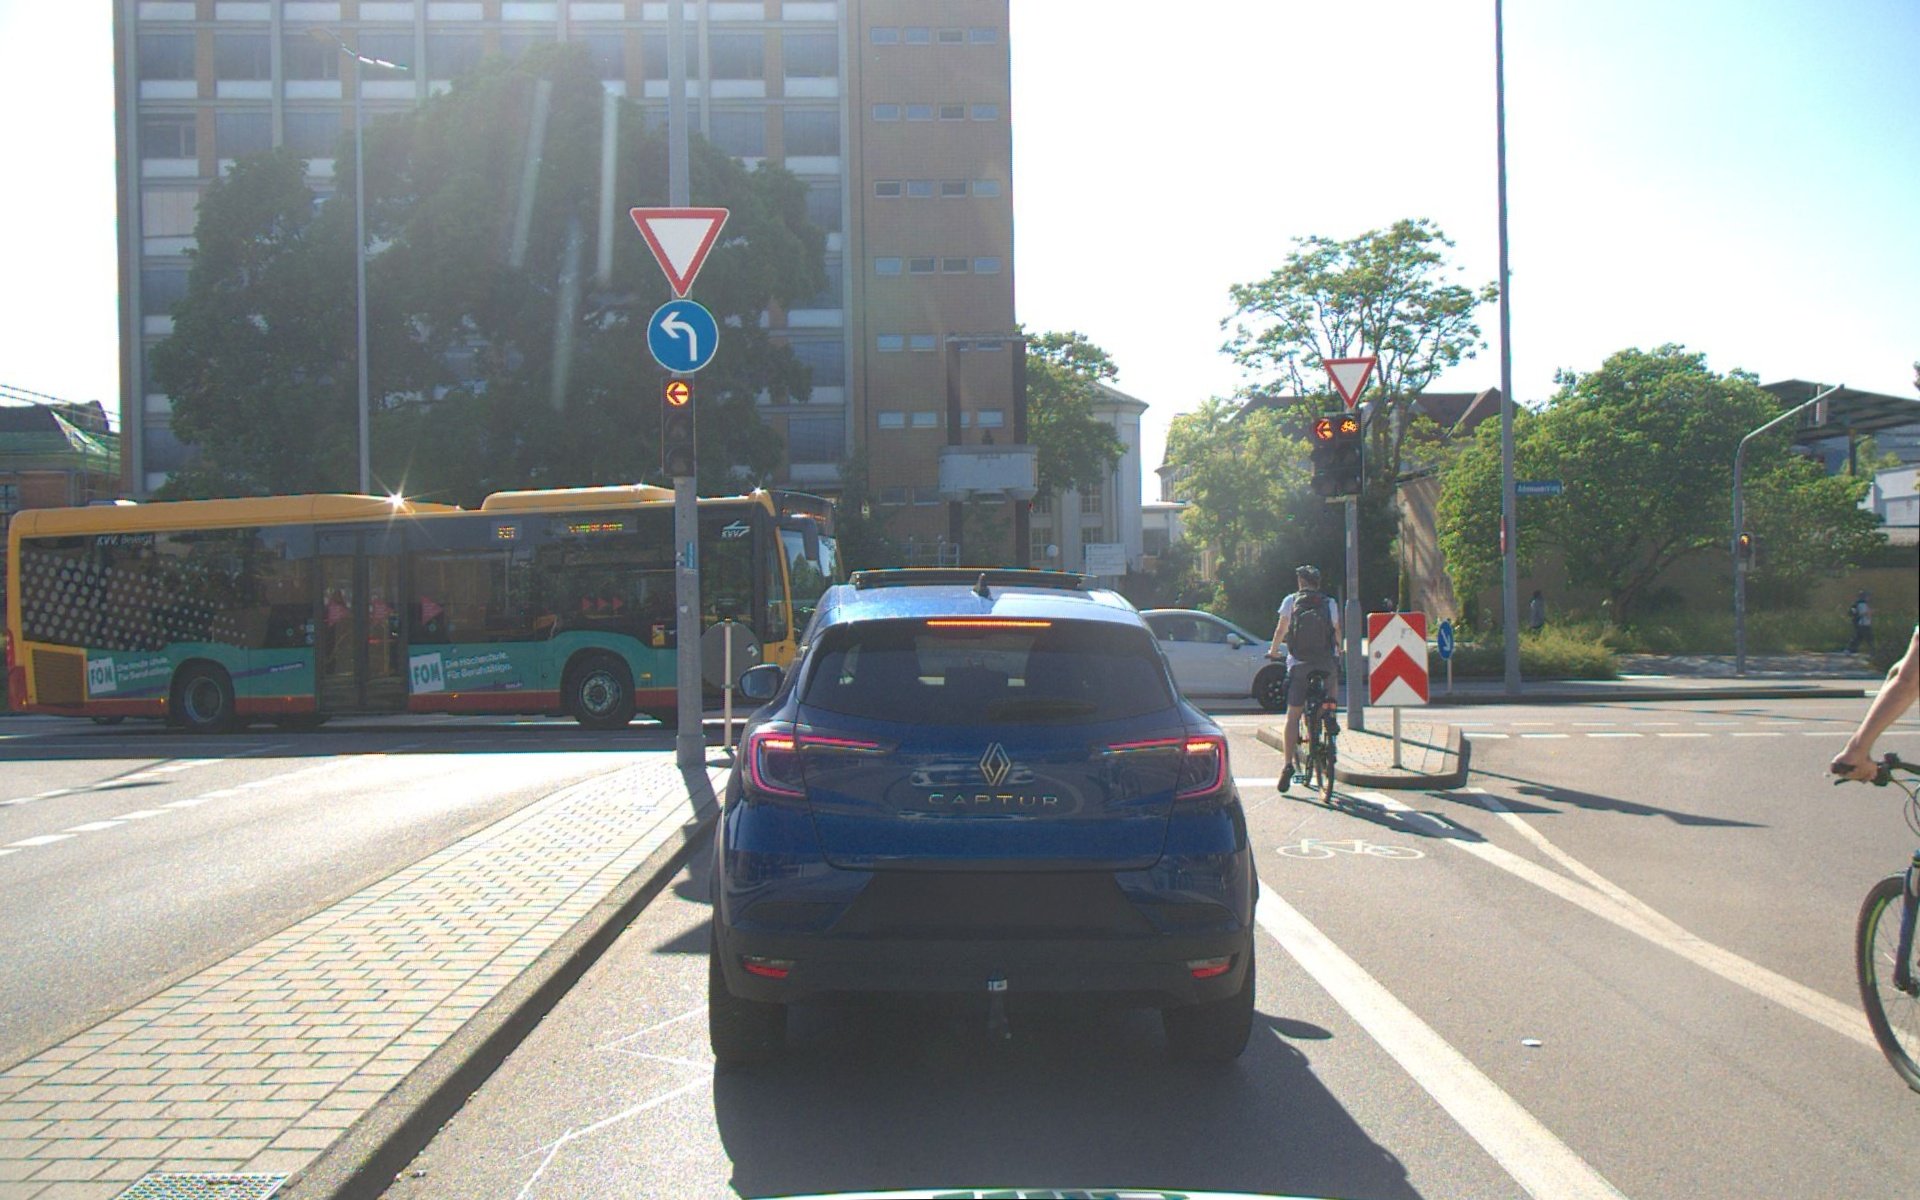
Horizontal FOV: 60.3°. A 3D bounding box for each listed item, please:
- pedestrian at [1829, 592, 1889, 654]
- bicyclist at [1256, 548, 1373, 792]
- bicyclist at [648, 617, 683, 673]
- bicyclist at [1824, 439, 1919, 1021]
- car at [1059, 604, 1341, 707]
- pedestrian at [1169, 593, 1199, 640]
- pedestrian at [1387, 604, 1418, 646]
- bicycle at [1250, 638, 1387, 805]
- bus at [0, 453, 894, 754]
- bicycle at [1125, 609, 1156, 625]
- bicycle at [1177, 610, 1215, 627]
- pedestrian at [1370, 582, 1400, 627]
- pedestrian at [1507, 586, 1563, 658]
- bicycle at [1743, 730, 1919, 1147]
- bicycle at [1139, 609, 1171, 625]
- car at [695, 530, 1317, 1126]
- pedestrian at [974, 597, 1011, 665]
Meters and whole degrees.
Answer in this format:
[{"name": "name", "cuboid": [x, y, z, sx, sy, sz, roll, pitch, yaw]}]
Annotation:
[{"name": "pedestrian", "cuboid": [22.659, 0.575, 41.695, 1.062, 1.547, 0.931, -1, 0, 9]}, {"name": "bicyclist", "cuboid": [2.739, 0.528, 12.837, 0.663, 1.816, 0.939, 1, -1, -2]}, {"name": "bicyclist", "cuboid": [-7.790, 1.198, 43.802, 0.634, 1.437, 0.638, -3, -3, 23]}, {"name": "bicyclist", "cuboid": [2.991, 0.362, 4.515, 0.660, 1.610, 1.081, 1, 0, -2]}, {"name": "car", "cuboid": [3.526, 0.792, 24.071, 3.902, 1.397, 1.761, -1, 0, 12]}, {"name": "pedestrian", "cuboid": [9.967, 0.709, 73.571, 1.132, 2.049, 1.164, -1, 0, -1]}, {"name": "pedestrian", "cuboid": [17.649, 0.998, 66.000, 0.917, 1.641, 1.175, -1, 0, -1]}, {"name": "bicycle", "cuboid": [2.740, 0.892, 12.812, 0.602, 1.158, 1.825, 0, 0, -2]}, {"name": "bus", "cuboid": [-7.236, 0.139, 23.102, 12.158, 3.633, 3.252, -1, 0, 15]}, {"name": "bicycle", "cuboid": [10.854, 1.012, 99.352, 1.735, 0.908, 0.765, -1, 0, -1]}, {"name": "bicycle", "cuboid": [11.857, 0.929, 83.203, 1.739, 0.837, 0.763, -1, 0, -11]}, {"name": "pedestrian", "cuboid": [17.043, 0.184, 66.380, 0.933, 1.772, 0.984, -1, 0, -1]}, {"name": "pedestrian", "cuboid": [15.357, 0.583, 44.199, 1.269, 1.888, 0.967, -1, 0, 11]}, {"name": "bicycle", "cuboid": [2.972, 0.972, 4.598, 0.657, 1.069, 1.843, 1, 0, -2]}, {"name": "bicycle", "cuboid": [11.200, 0.981, 94.994, 1.735, 0.914, 0.765, -1, 0, -1]}, {"name": "car", "cuboid": [0.081, 0.644, 6.637, 1.758, 1.684, 3.852, 1, 0, -2]}, {"name": "pedestrian", "cuboid": [0.930, 0.870, 46.470, 0.912, 1.888, 0.808, -1, 0, 8]}]
